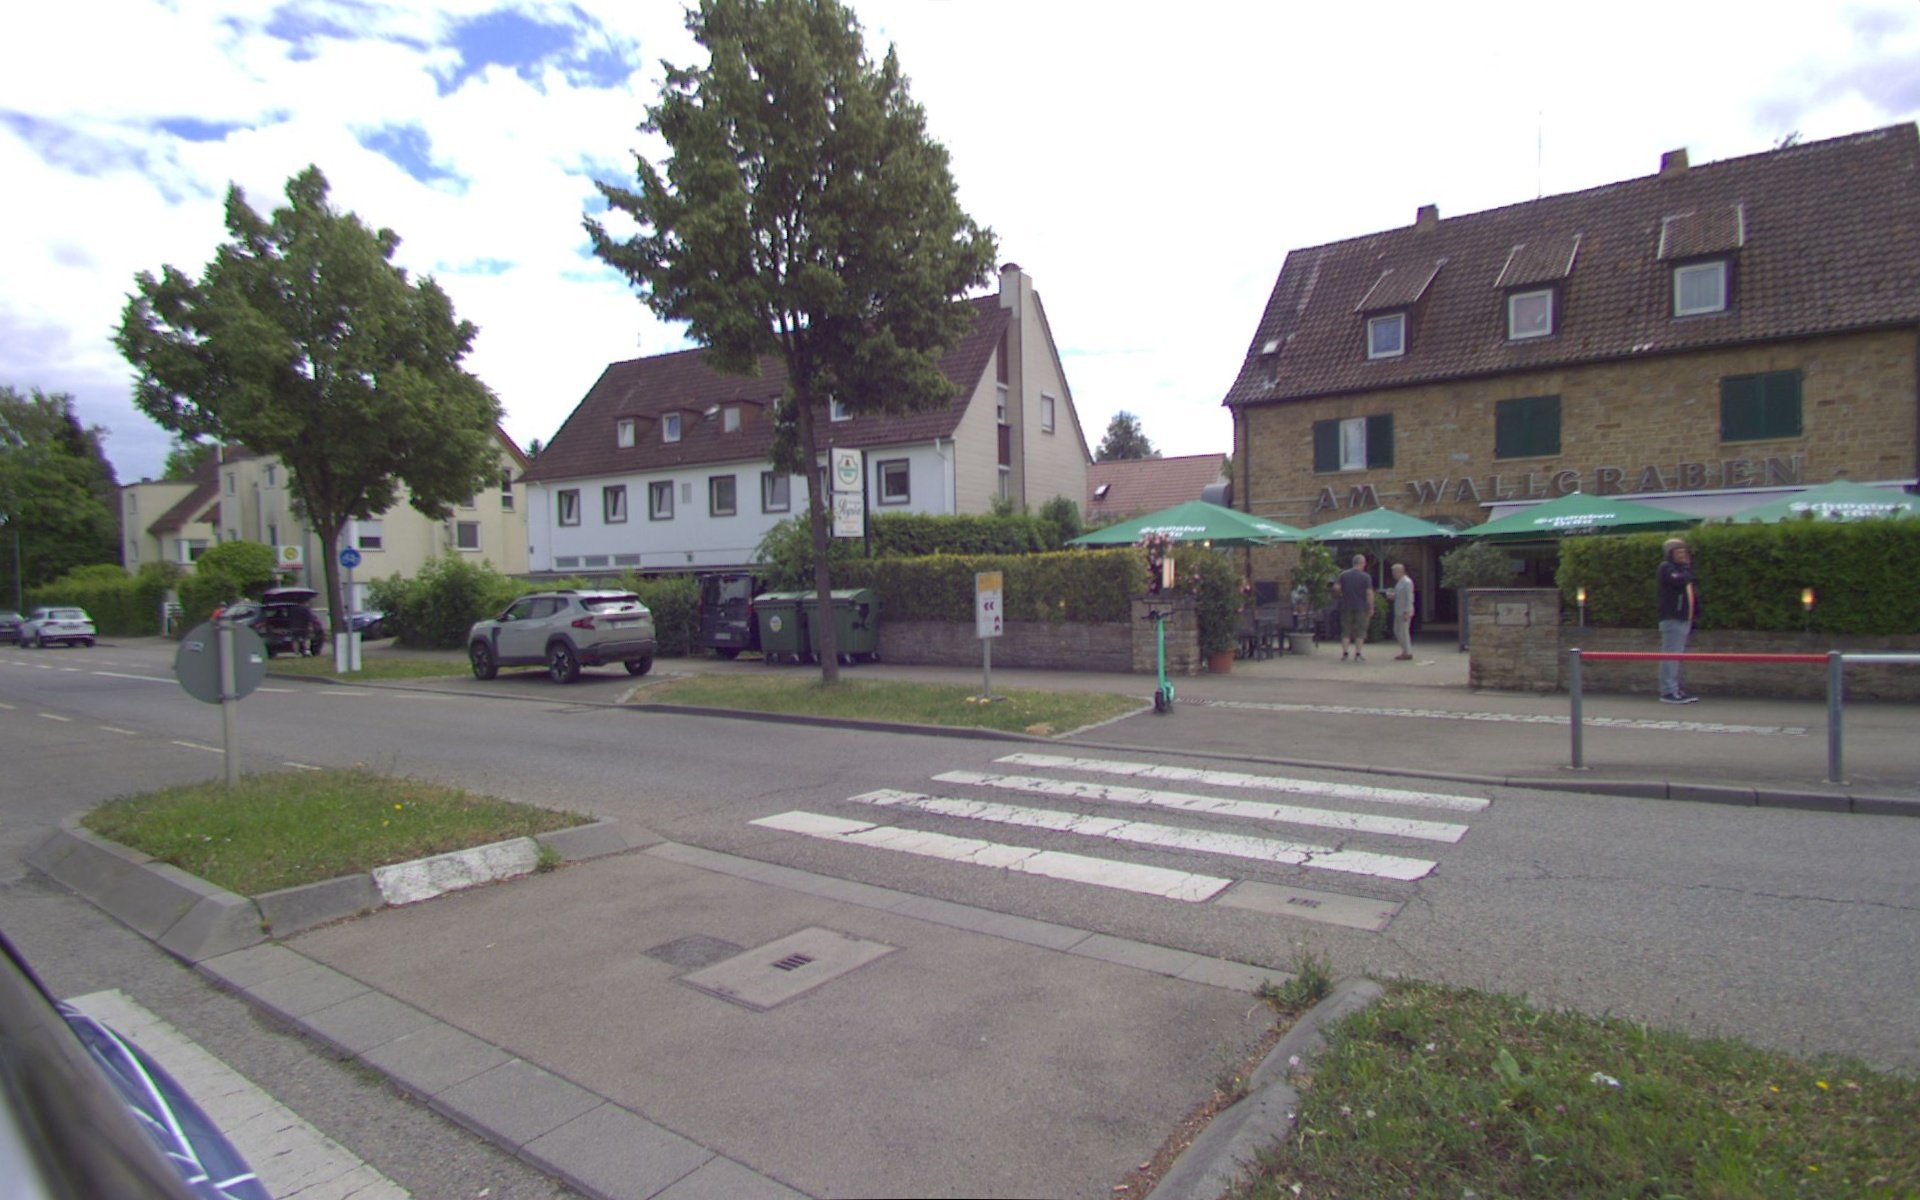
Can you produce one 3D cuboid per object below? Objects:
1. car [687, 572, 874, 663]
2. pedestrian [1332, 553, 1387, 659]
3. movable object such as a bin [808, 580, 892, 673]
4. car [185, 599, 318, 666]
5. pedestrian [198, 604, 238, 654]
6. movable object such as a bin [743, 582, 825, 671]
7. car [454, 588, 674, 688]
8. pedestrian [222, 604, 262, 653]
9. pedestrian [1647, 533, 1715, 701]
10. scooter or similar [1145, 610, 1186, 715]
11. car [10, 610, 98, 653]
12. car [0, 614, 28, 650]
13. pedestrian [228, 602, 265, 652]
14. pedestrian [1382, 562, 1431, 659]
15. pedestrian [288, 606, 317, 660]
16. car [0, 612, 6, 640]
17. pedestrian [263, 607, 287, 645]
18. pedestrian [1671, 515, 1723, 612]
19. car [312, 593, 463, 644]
[{"bbox_3d":[-4.086,0.343,23.514,1.997,1.906,3.949,-1,0,38],"label":"car"},{"bbox_3d":[6.923,0.104,17.540,0.747,1.797,0.566,-1,0,33],"label":"pedestrian"},{"bbox_3d":[-2.100,0.490,19.457,0.996,1.663,1.195,-1,3,36],"label":"movable object such as a bin"},{"bbox_3d":[-20.521,0.913,29.263,4.555,1.737,1.709,-1,1,36],"label":"car"},{"bbox_3d":[-25.920,1.002,35.369,0.752,1.675,0.781,-1,4,31],"label":"pedestrian"},{"bbox_3d":[-3.529,0.516,20.352,0.996,1.663,1.195,-1,3,36],"label":"movable object such as a bin"},{"bbox_3d":[-7.529,0.665,19.103,4.286,1.666,1.844,-1,1,36],"label":"car"},{"bbox_3d":[-25.759,1.026,36.300,0.878,1.675,0.781,-1,4,31],"label":"pedestrian"},{"bbox_3d":[8.020,0.181,11.249,0.540,1.797,0.555,-1,0,41],"label":"pedestrian"},{"bbox_3d":[2.417,0.705,11.963,0.343,1.147,1.285,-1,0,6],"label":"scooter or similar"},{"bbox_3d":[-37.794,1.292,42.190,4.576,1.646,1.805,-1,0,36],"label":"car"},{"bbox_3d":[-43.878,1.464,45.859,4.265,1.563,1.662,-1,0,37],"label":"car"},{"bbox_3d":[-24.837,0.924,35.225,0.590,1.675,0.780,-1,4,37],"label":"pedestrian"},{"bbox_3d":[7.789,0.172,17.672,0.446,1.656,0.619,-1,0,-24],"label":"pedestrian"},{"bbox_3d":[-18.121,0.910,27.892,0.545,1.447,0.498,-1,0,-21],"label":"pedestrian"},{"bbox_3d":[-53.293,1.427,54.441,4.880,1.496,1.976,-1,0,36],"label":"car"},{"bbox_3d":[-28.994,1.100,42.863,0.836,1.572,0.663,-1,0,44],"label":"pedestrian"},{"bbox_3d":[13.925,-0.684,19.123,0.633,1.797,0.574,-2,0,-34],"label":"pedestrian"},{"bbox_3d":[-20.661,0.640,36.751,2.022,1.565,4.496,-1,2,21],"label":"car"}]
